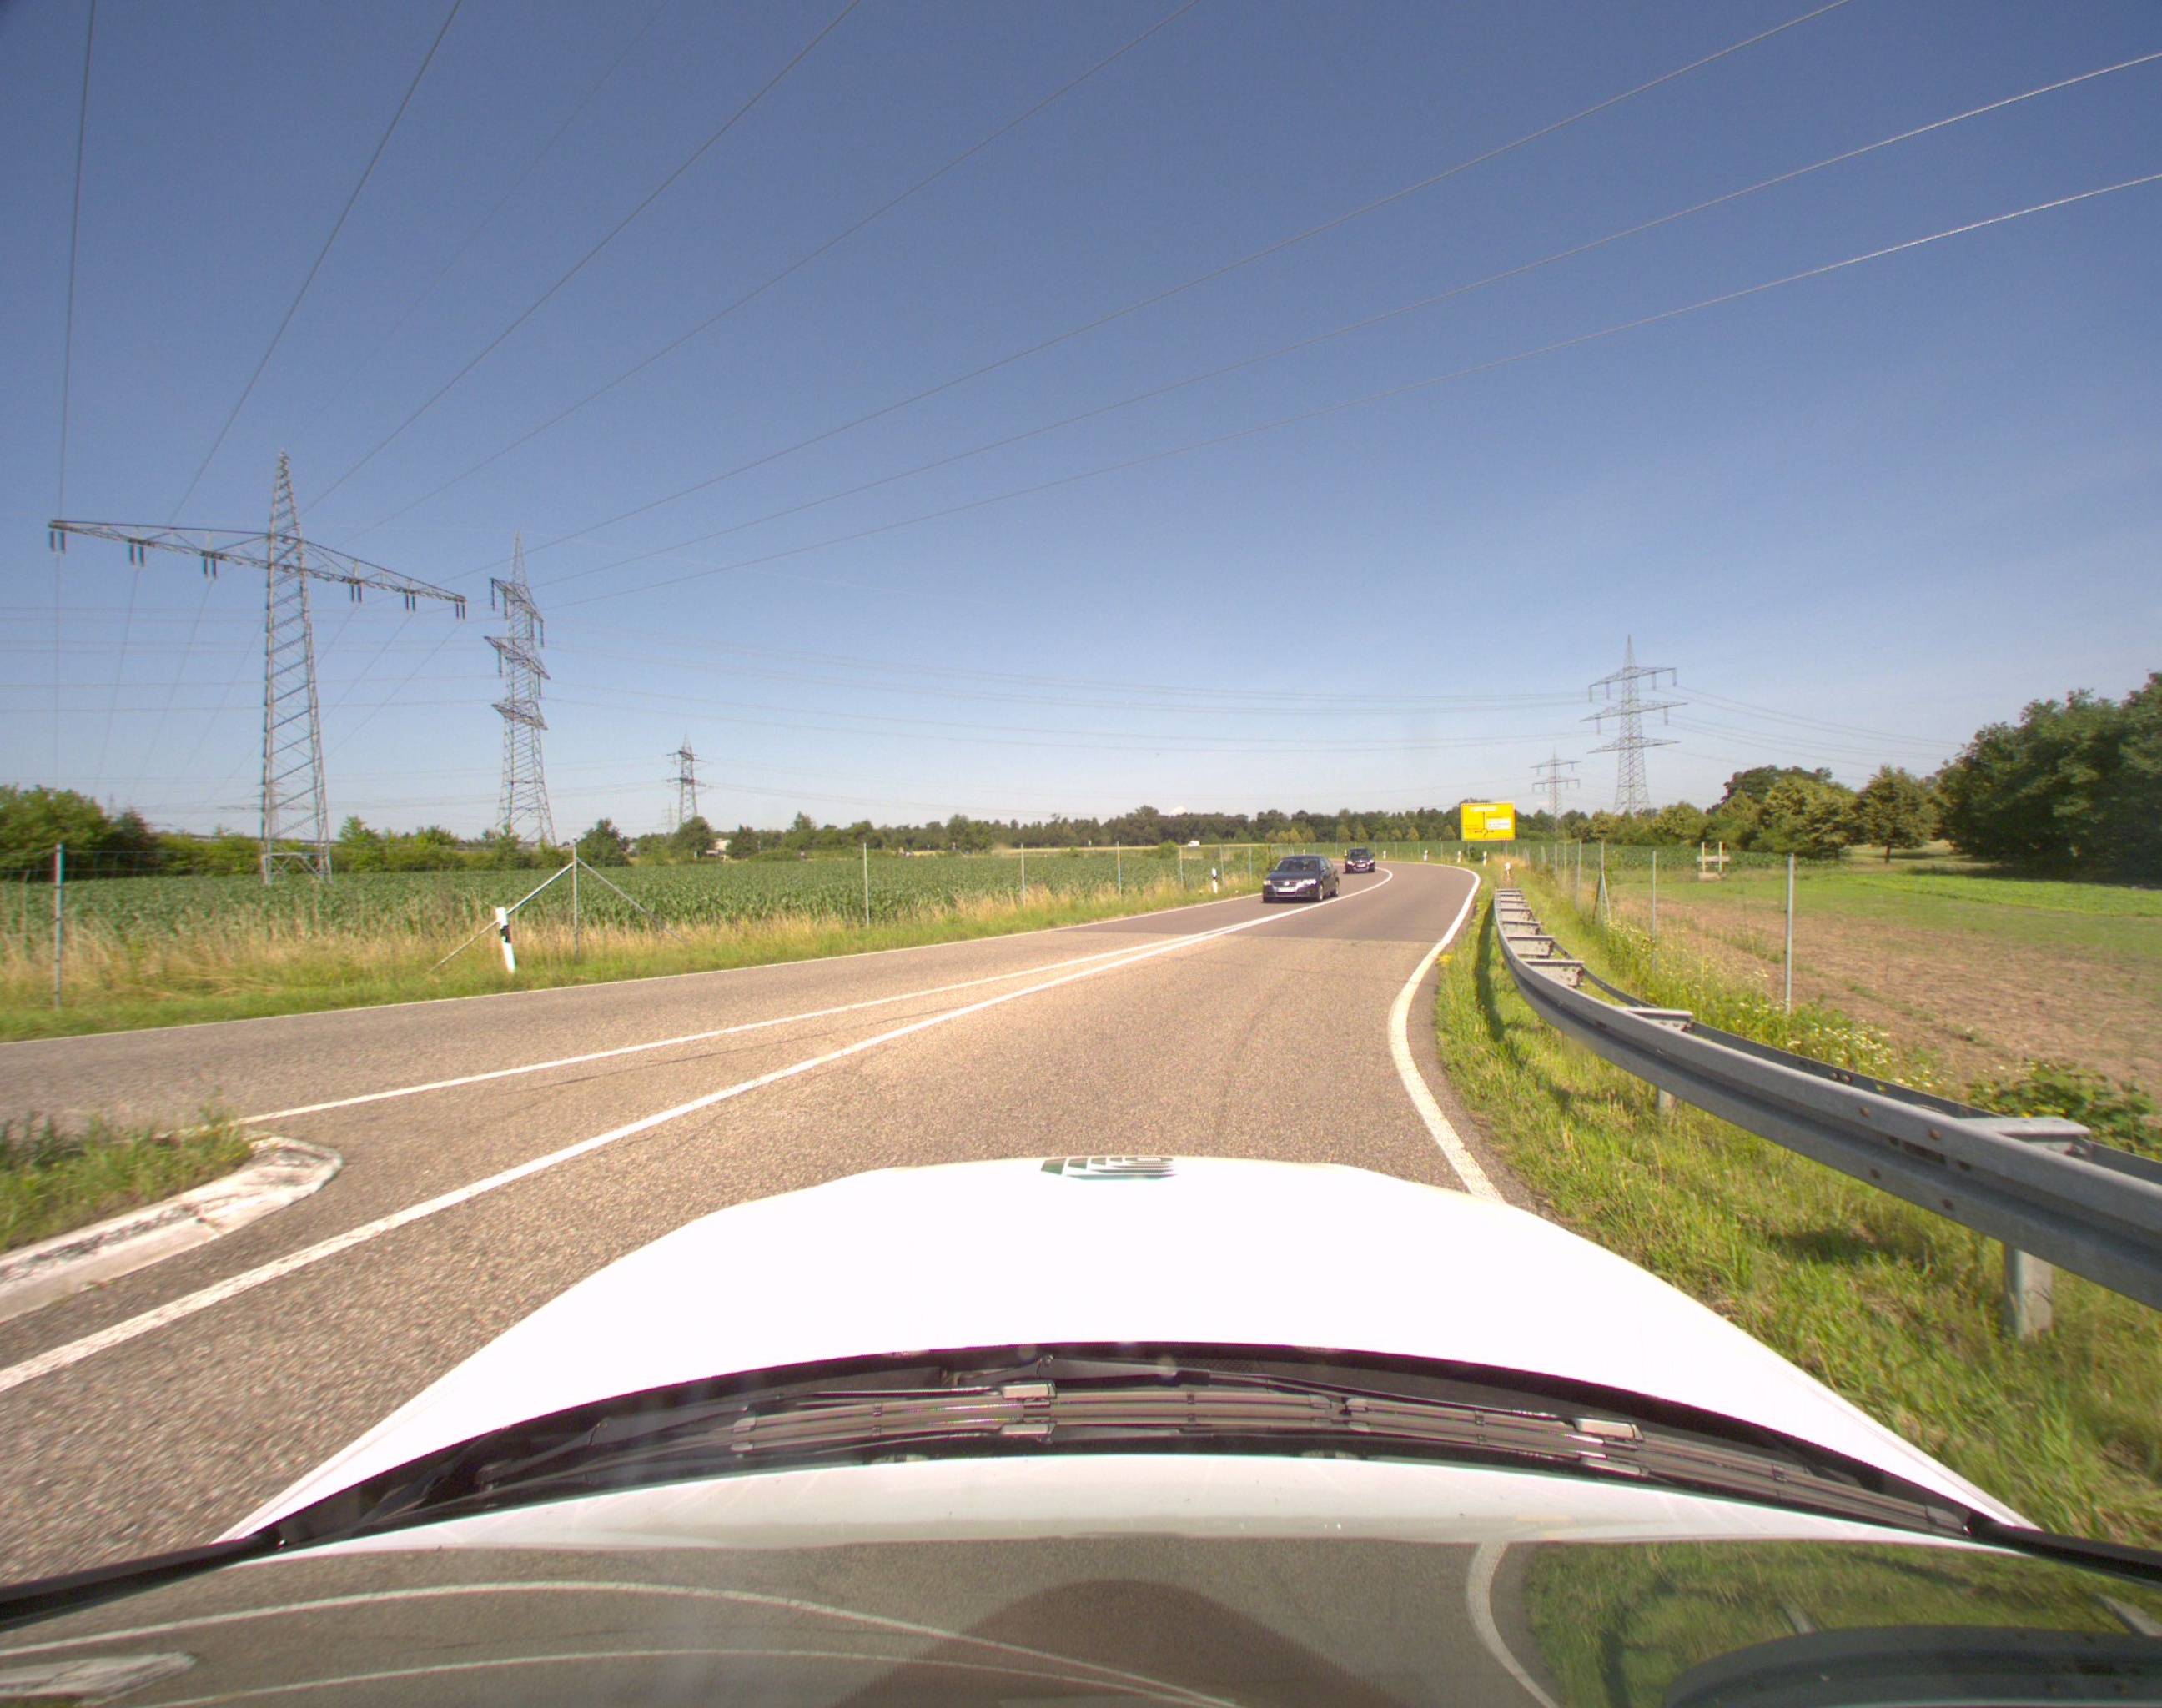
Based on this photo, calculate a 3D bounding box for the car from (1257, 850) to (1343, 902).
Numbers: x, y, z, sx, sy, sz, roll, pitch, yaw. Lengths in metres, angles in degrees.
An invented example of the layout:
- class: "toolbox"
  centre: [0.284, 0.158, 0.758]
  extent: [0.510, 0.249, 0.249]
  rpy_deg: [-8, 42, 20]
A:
- class: "car"
  centre: [7.111, 0.662, 26.139]
  extent: [1.758, 1.456, 4.619]
  rpy_deg: [-2, 0, 26]

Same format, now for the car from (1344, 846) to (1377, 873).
- class: "car"
  centre: [18.413, 0.337, 53.855]
  extent: [1.968, 1.706, 4.281]
  rpy_deg: [0, 0, 17]
